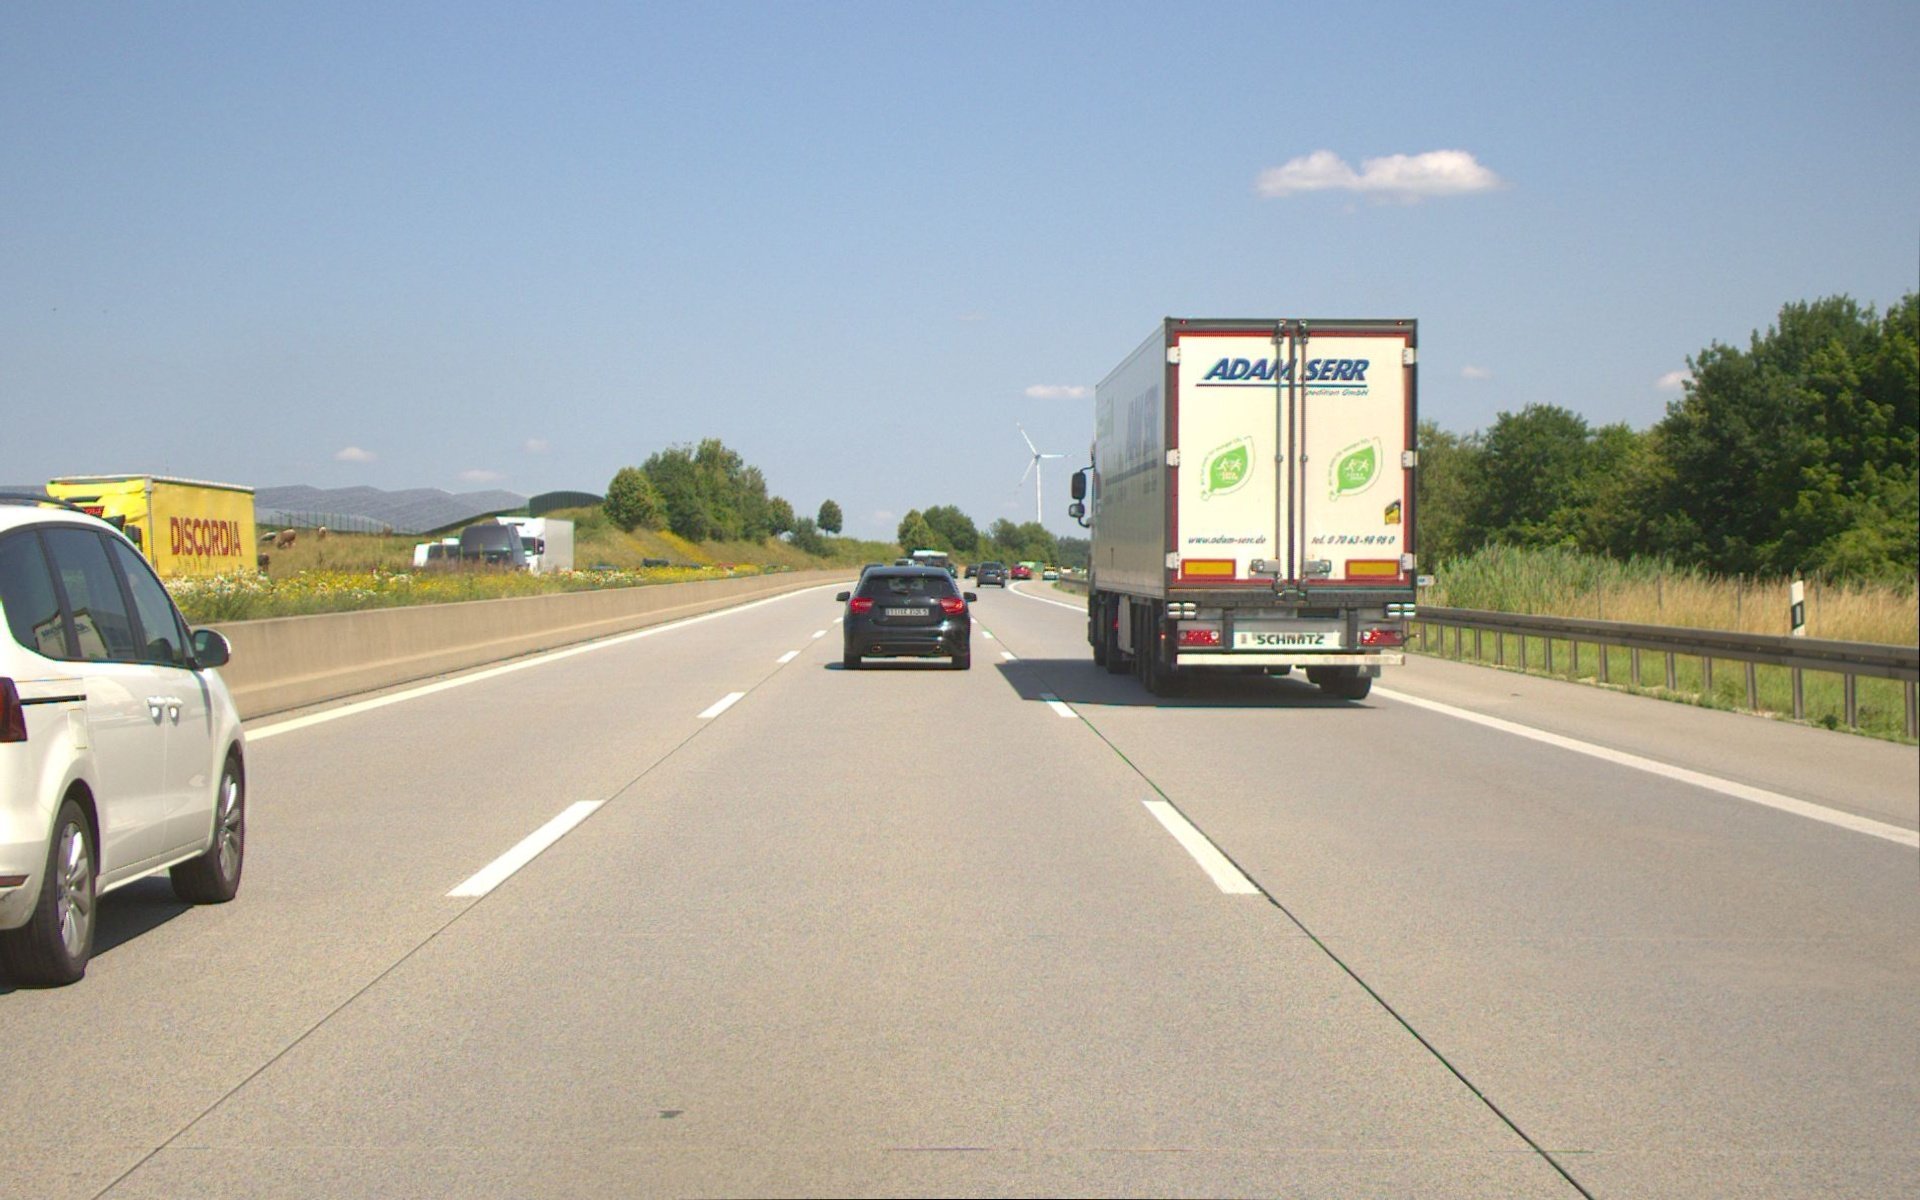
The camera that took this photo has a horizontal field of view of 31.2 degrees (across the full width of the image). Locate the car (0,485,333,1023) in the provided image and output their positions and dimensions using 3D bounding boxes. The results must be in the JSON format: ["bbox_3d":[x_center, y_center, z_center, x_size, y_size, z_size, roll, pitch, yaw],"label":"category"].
[{"bbox_3d":[-3.979,0.460,13.825,1.845,1.702,6.036,1,0,-1],"label":"car"}]

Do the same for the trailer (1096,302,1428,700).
[{"bbox_3d":[3.340,-1.082,41.471,2.852,4.029,12.713,1,1,0],"label":"trailer"}]

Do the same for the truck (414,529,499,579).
[{"bbox_3d":[-21.260,-1.917,145.473,2.517,2.007,7.630,1,0,-1],"label":"truck"}]

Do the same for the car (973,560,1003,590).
[{"bbox_3d":[1.775,-1.629,221.235,1.827,1.900,4.000,1,0,-1],"label":"car"}]

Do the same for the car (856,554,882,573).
[{"bbox_3d":[-6.201,-2.506,233.828,1.655,1.192,3.960,3,1,-1],"label":"car"}]

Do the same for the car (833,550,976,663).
[{"bbox_3d":[-0.819,0.060,48.712,1.910,1.487,4.192,1,1,-2],"label":"car"}]

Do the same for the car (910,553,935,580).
[{"bbox_3d":[-2.714,-2.445,249.915,1.827,1.931,3.809,0,0,-1],"label":"car"}]

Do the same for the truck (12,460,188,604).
[{"bbox_3d":[-21.893,-1.690,87.810,2.923,3.528,6.348,0,0,0],"label":"truck"}]

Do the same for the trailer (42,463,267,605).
[{"bbox_3d":[-21.883,-1.710,94.385,2.931,3.538,14.020,1,0,0],"label":"trailer"}]

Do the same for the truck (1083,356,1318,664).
[{"bbox_3d":[3.312,-1.229,48.825,2.812,4.074,5.799,1,1,-1],"label":"truck"}]
